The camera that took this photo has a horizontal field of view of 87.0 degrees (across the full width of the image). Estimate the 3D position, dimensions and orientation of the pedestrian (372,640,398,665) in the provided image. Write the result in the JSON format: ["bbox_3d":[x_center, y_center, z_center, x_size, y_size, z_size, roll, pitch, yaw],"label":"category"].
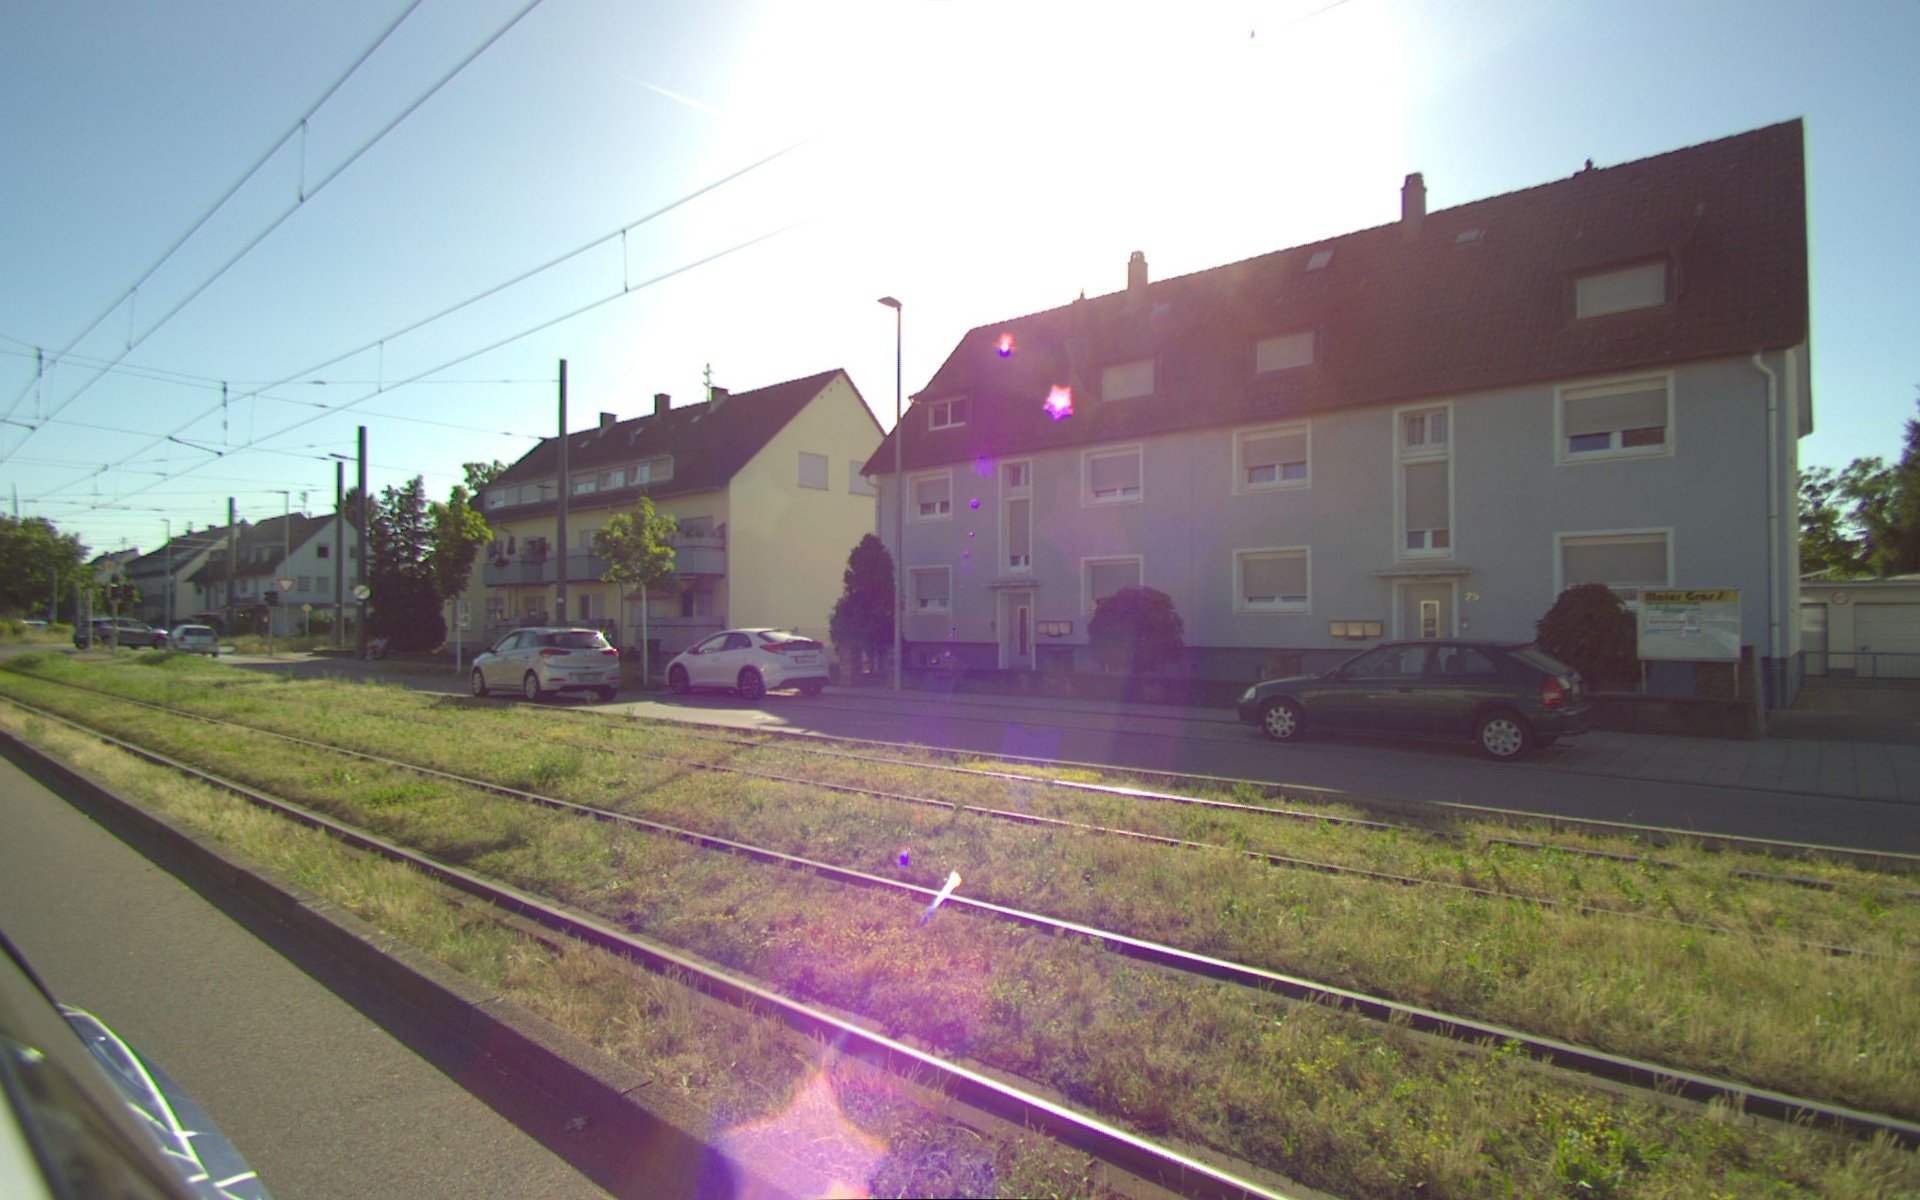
[{"bbox_3d":[-24.331,2.236,42.819,0.590,1.013,0.720,1,-1,17],"label":"pedestrian"}]

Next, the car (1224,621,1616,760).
[{"bbox_3d":[5.660,1.014,12.777,4.166,1.474,1.771,-2,-2,43],"label":"car"}]

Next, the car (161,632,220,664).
[{"bbox_3d":[-35.324,2.164,46.436,3.658,1.422,1.533,-2,-3,43],"label":"car"}]

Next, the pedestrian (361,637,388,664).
[{"bbox_3d":[-24.951,2.152,43.158,0.619,1.073,0.818,1,-1,8],"label":"pedestrian"}]

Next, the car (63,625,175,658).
[{"bbox_3d":[-42.494,2.057,51.231,1.823,1.591,3.960,-1,-2,29],"label":"car"}]

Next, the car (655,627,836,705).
[{"bbox_3d":[-4.677,1.341,21.747,4.214,1.529,1.674,-1,-2,43],"label":"car"}]

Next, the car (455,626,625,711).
[{"bbox_3d":[-8.727,1.341,20.872,4.024,1.502,1.689,0,-1,43],"label":"car"}]

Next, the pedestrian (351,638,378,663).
[{"bbox_3d":[-25.666,2.183,43.641,0.687,1.054,0.809,0,-2,38],"label":"pedestrian"}]
